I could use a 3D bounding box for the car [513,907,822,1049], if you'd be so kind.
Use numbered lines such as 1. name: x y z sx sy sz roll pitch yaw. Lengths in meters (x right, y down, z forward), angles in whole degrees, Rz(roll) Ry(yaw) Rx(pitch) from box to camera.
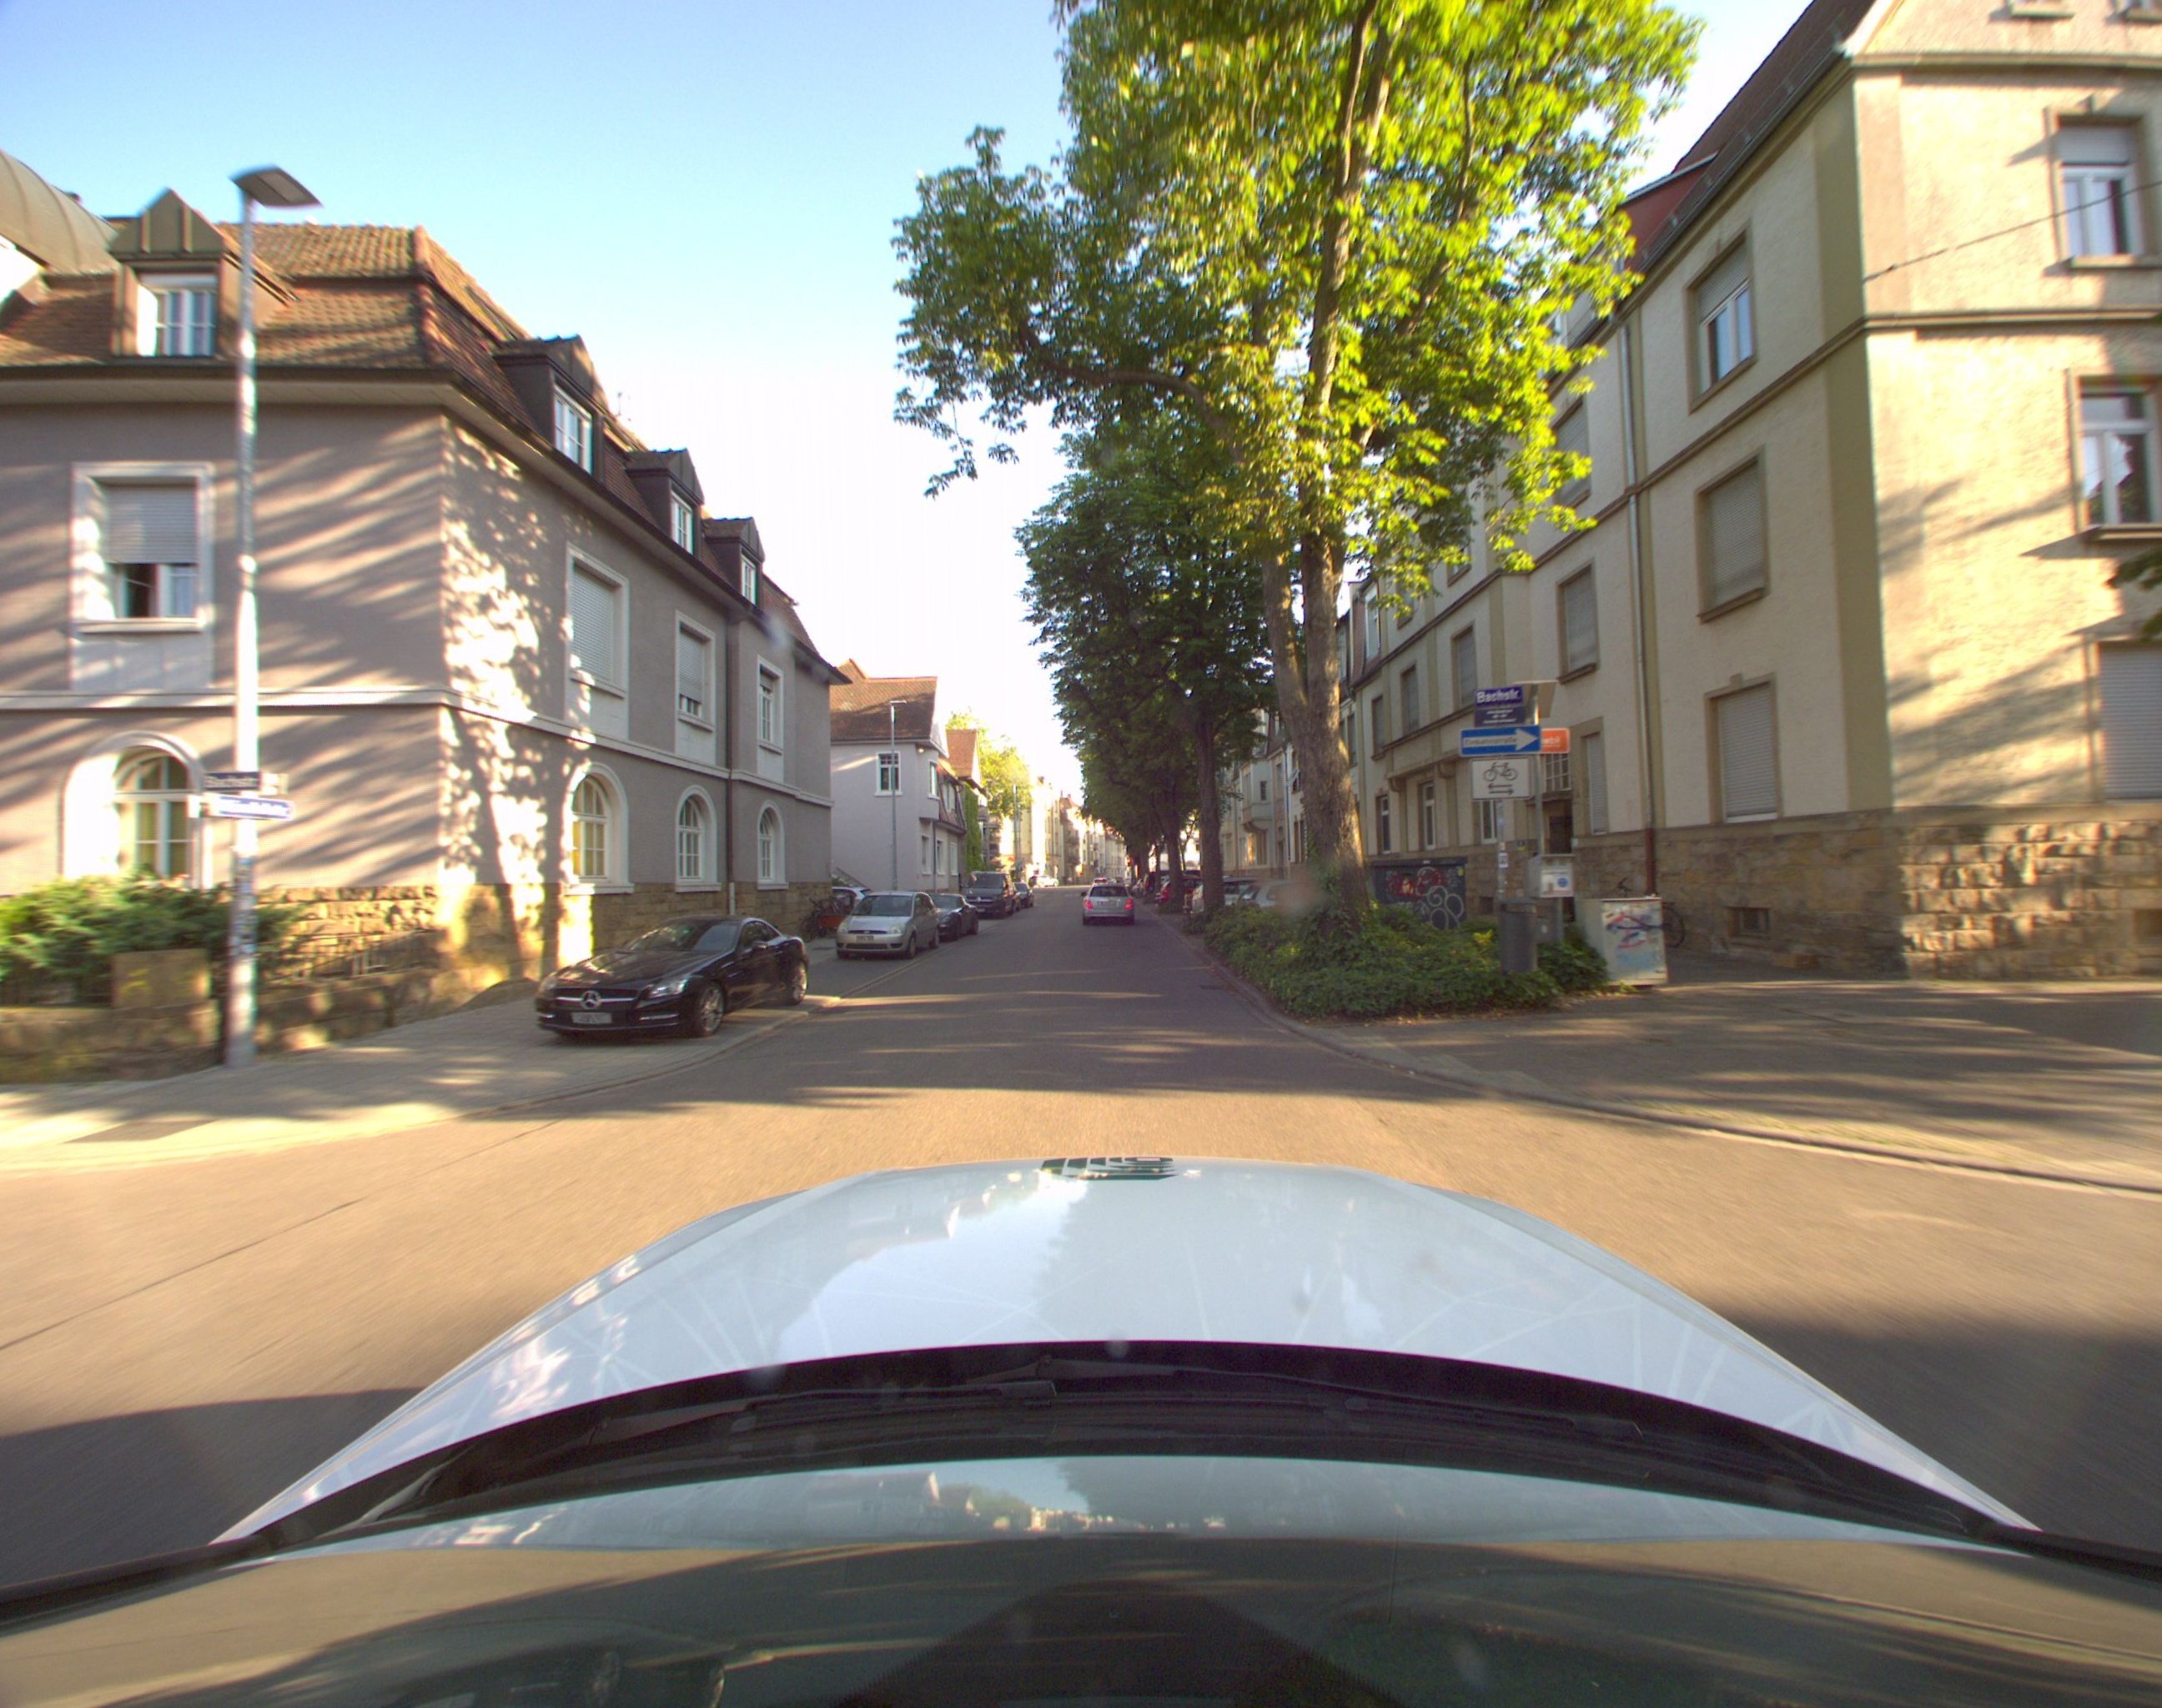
1. car: -4.918 1.411 10.433 1.646 1.324 4.049 0 -2 4

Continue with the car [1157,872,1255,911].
1. car: 5.587 1.670 36.751 4.172 1.476 1.853 -3 -2 3

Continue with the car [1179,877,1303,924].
1. car: 5.255 1.525 27.108 3.779 1.438 1.817 -1 -2 1

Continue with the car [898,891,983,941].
1. car: -4.073 1.791 24.255 1.524 1.319 4.230 -1 -2 4

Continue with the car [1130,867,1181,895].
1. car: 6.719 2.436 73.360 4.376 2.364 1.999 -1 -2 -1

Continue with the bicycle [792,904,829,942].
1. bicycle: -7.452 1.891 22.506 0.392 0.937 1.722 -2 -2 2

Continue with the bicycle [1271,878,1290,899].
1. bicycle: 10.566 1.837 43.221 0.472 1.056 2.045 -3 -2 1

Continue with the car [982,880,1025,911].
1. car: -3.890 2.083 41.571 1.647 1.447 4.238 0 -2 2

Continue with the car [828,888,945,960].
1. car: -4.426 1.549 19.116 1.647 1.446 3.961 0 -2 2

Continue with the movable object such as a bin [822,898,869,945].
1. movable object such as a bin: -7.052 1.999 24.466 0.719 1.284 2.097 -1 -2 2

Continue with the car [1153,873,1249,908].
1. car: 5.741 1.751 39.483 4.392 1.419 1.878 -3 -2 3

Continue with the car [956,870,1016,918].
1. car: -4.060 1.680 35.625 1.975 1.948 4.851 0 -2 1

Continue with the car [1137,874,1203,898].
1. car: 6.118 2.196 56.329 4.275 1.541 1.876 -1 -2 -1

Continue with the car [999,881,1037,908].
1. car: -3.569 2.255 46.524 1.688 1.447 4.359 0 -2 2

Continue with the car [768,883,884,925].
1. car: -9.573 1.858 30.746 3.854 1.443 1.633 -1 -1 -3

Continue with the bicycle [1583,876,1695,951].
1. bicycle: 9.811 1.011 14.414 0.583 1.212 1.957 -1 -1 -1

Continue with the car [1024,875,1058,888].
1. car: -5.258 3.572 107.125 4.021 1.585 1.976 0 -2 -40

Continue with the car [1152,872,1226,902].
1. car: 6.405 1.947 48.633 4.096 1.571 1.877 -3 -2 1

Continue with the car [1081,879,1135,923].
1. car: 0.972 1.633 28.701 1.777 1.438 3.852 0 -2 2

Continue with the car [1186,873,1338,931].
1. car: 5.372 1.422 24.471 4.138 1.577 1.710 -1 -2 -4

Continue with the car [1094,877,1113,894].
1. car: 2.116 2.914 75.940 1.617 1.570 3.682 -1 -1 2

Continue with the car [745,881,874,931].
1. car: -9.440 1.791 28.560 3.854 1.621 1.896 -1 -1 -3

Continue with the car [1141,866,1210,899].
1. car: 6.133 1.870 53.345 4.207 1.896 1.904 -3 -2 -1

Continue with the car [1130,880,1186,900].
1. car: 6.183 2.888 65.503 4.275 1.417 1.876 -2 -1 -1

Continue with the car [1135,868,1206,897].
1. car: 6.588 2.099 60.594 5.038 1.989 2.071 -1 -2 -1

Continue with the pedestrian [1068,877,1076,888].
1. pedestrian: -1.458 4.784 136.617 1.215 1.722 1.505 0 -2 5

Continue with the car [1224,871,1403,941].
1. car: 5.561 1.227 19.770 3.785 1.438 1.747 -2 -2 -3
